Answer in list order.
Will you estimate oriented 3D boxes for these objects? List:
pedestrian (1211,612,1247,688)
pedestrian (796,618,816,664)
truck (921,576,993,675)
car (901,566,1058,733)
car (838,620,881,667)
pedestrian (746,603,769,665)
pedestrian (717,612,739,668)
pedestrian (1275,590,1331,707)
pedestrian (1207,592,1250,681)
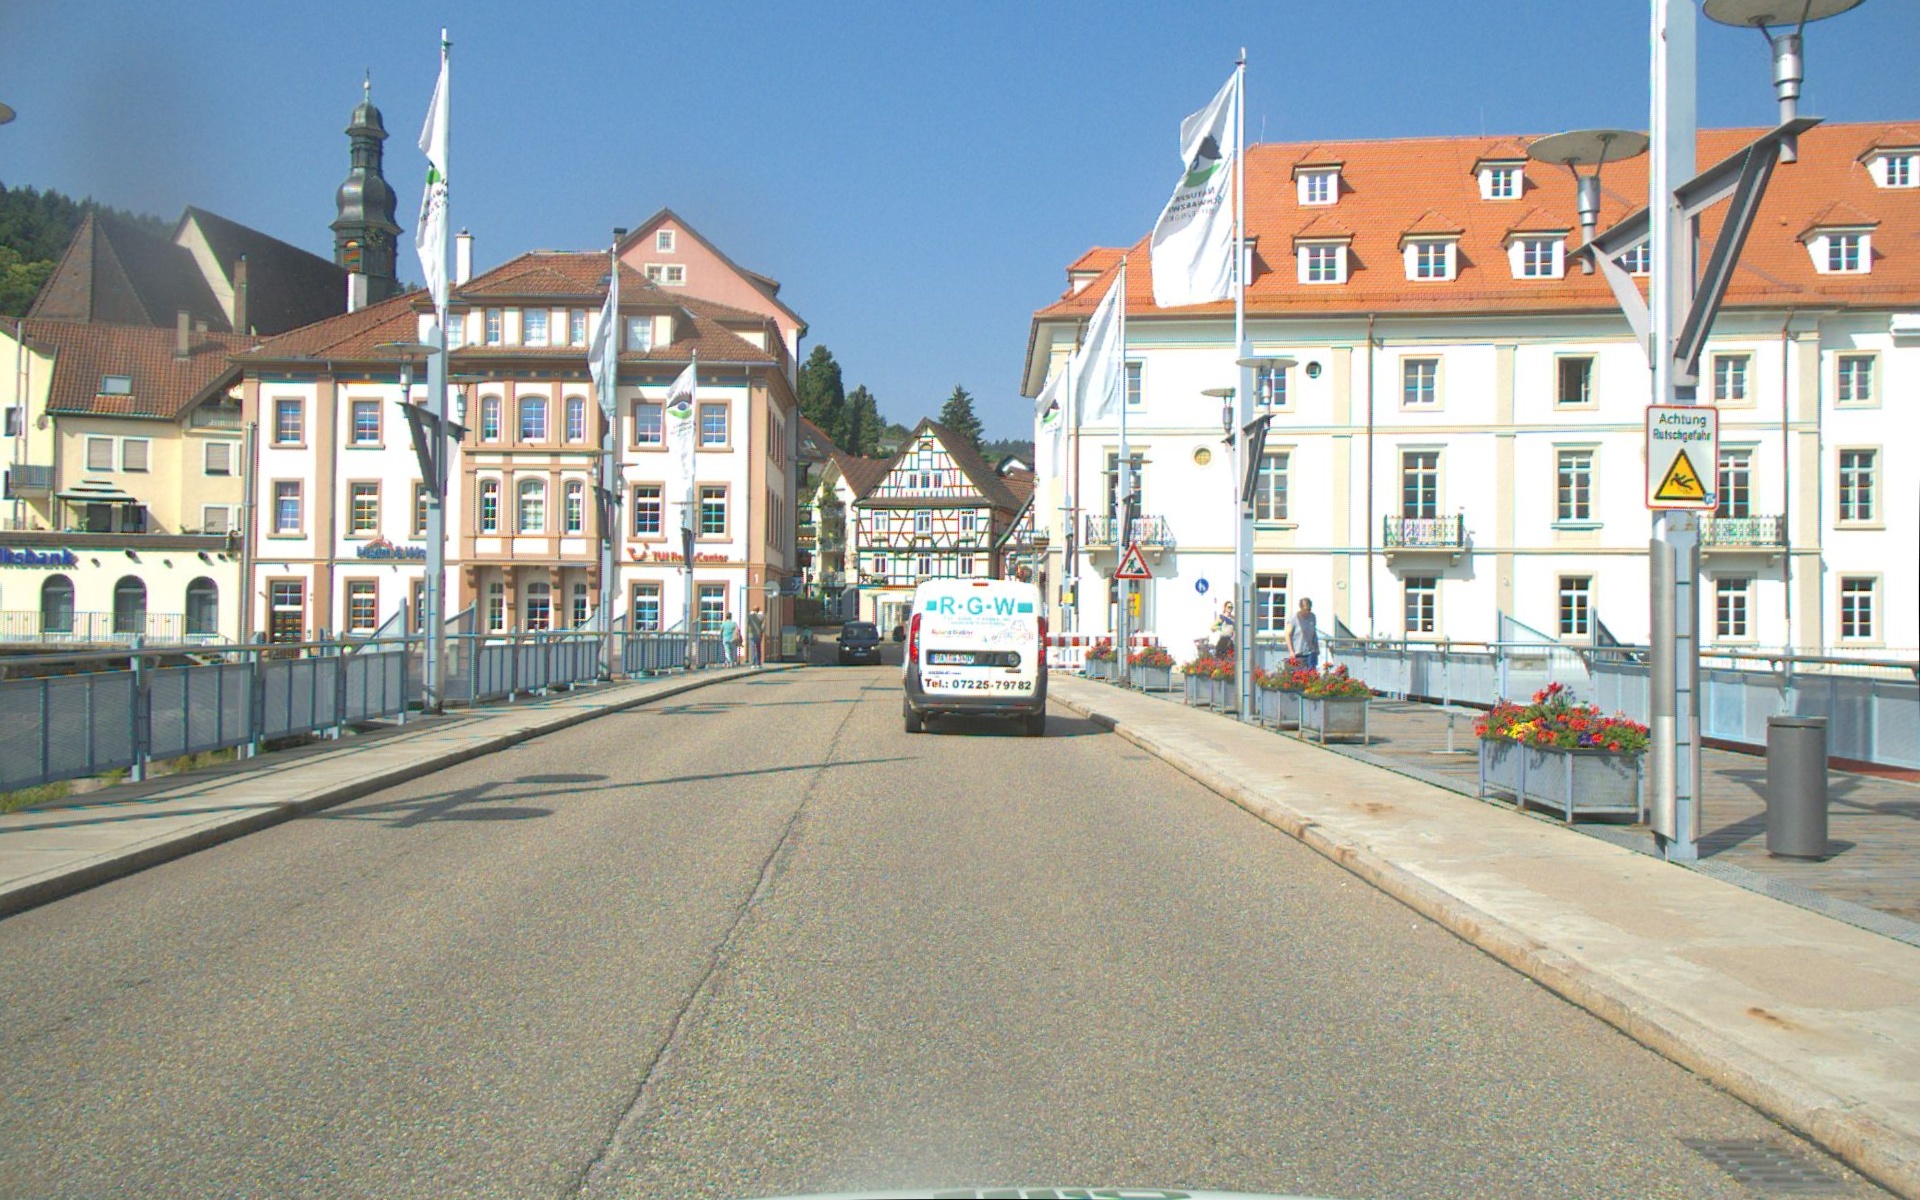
[{"bbox_3d":[4.535,0.842,27.876,0.443,1.266,0.625,0,-1,-7],"label":"pedestrian"},{"bbox_3d":[-6.368,1.688,68.404,0.787,1.890,0.616,0,0,-3],"label":"pedestrian"},{"bbox_3d":[-0.129,0.711,46.607,1.824,2.631,4.258,1,-1,-2],"label":"truck"},{"bbox_3d":[0.158,0.613,21.596,1.807,1.939,4.312,1,-1,-2],"label":"car"},{"bbox_3d":[-4.243,1.811,69.995,1.741,1.824,4.694,1,0,-3],"label":"car"},{"bbox_3d":[-5.974,1.004,48.792,0.603,1.793,0.861,1,0,-10],"label":"pedestrian"},{"bbox_3d":[-6.844,1.178,48.796,0.573,1.638,0.536,1,0,-10],"label":"pedestrian"},{"bbox_3d":[4.920,0.688,23.763,0.652,1.647,0.563,1,0,-2],"label":"pedestrian"},{"bbox_3d":[5.354,0.727,33.019,0.711,1.753,0.747,1,0,-1],"label":"pedestrian"}]
